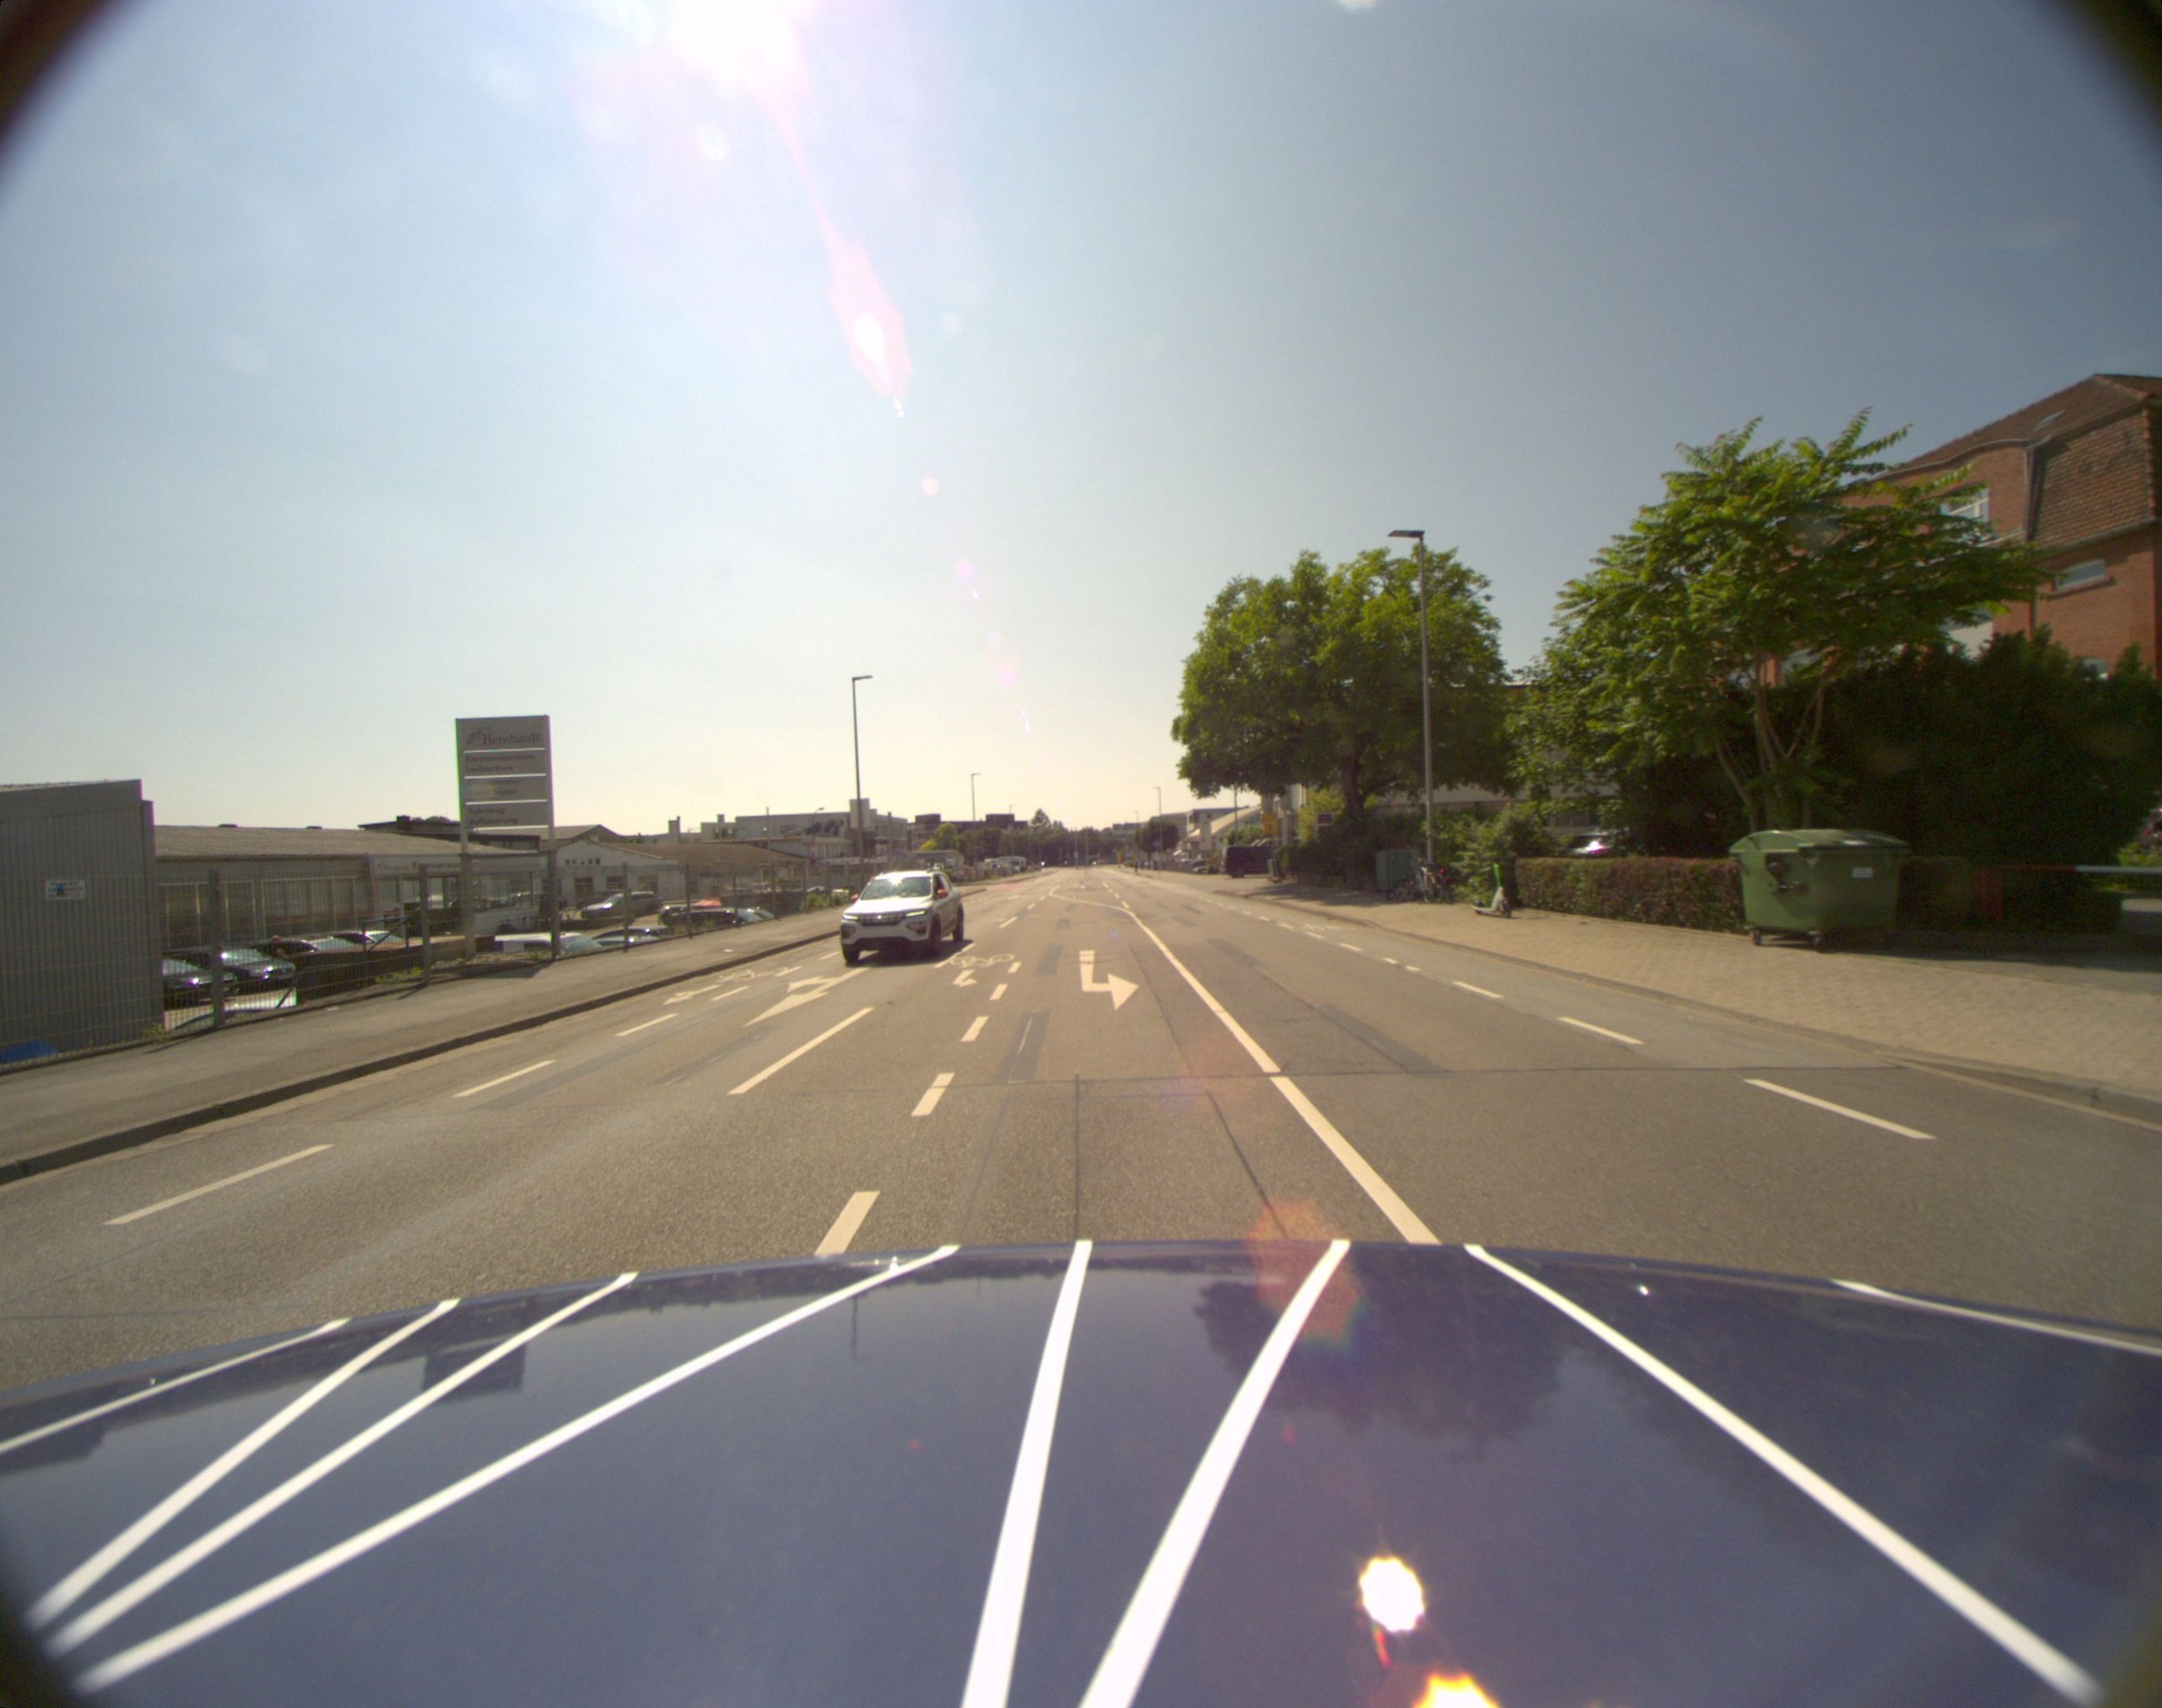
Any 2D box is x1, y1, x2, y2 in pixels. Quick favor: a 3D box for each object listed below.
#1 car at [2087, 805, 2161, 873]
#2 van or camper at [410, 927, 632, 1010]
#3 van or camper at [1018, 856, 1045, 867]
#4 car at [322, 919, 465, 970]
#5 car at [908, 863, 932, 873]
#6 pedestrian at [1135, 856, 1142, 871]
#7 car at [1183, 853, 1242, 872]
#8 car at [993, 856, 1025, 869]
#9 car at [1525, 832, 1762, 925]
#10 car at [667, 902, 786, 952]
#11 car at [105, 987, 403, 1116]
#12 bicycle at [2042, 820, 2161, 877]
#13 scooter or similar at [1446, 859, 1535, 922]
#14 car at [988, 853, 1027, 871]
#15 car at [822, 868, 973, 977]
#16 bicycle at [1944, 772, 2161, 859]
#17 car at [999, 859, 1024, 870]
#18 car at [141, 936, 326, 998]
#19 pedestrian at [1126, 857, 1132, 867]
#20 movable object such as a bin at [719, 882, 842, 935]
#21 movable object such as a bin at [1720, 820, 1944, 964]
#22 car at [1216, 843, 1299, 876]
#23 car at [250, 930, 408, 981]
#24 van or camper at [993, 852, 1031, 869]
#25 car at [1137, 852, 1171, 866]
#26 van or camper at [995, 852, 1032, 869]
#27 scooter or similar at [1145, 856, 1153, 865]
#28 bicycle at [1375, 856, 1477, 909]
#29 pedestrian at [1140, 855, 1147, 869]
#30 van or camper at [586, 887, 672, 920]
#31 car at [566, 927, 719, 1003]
[{"bbox_3d":[28.282,-0.429,18.259,4.467,1.624,2.160,-1,1,33],"label":"car"},{"bbox_3d":[-14.890,3.018,20.434,4.325,1.641,2.020,-3,0,-4],"label":"van or camper"},{"bbox_3d":[-10.309,1.556,159.016,5.144,1.950,1.982,-1,1,-30],"label":"van or camper"},{"bbox_3d":[-28.680,3.756,31.824,3.998,1.653,1.999,-2,2,-2],"label":"car"},{"bbox_3d":[-30.081,2.569,142.149,4.117,1.723,1.999,-2,0,-3],"label":"car"},{"bbox_3d":[7.317,1.233,97.039,0.734,1.856,1.047,-2,0,7],"label":"pedestrian"},{"bbox_3d":[11.509,0.707,66.573,4.751,1.472,2.048,-2,0,-1],"label":"car"},{"bbox_3d":[-12.197,1.426,129.381,5.247,1.940,2.000,-1,0,0],"label":"car"},{"bbox_3d":[12.195,0.496,16.700,3.773,1.830,1.787,2,1,4],"label":"car"},{"bbox_3d":[-14.867,3.045,32.026,3.997,1.641,2.000,-3,0,-1],"label":"car"},{"bbox_3d":[-16.227,3.852,15.031,3.994,1.819,2.001,-5,0,9],"label":"car"},{"bbox_3d":[24.962,-0.138,17.652,0.883,1.279,3.441,-2,0,0],"label":"bicycle"},{"bbox_3d":[8.017,0.688,14.958,0.649,1.121,1.622,-5,0,-6],"label":"scooter or similar"},{"bbox_3d":[-12.753,1.408,132.074,6.243,2.852,2.320,-2,0,1],"label":"car"},{"bbox_3d":[-3.198,1.136,13.978,1.726,1.476,3.676,-4,1,1],"label":"car"},{"bbox_3d":[22.763,-0.815,17.749,0.890,1.813,3.761,-2,0,0],"label":"bicycle"},{"bbox_3d":[-11.584,1.703,126.524,3.931,1.584,1.798,-2,0,0],"label":"car"},{"bbox_3d":[-29.511,3.901,26.572,3.998,1.653,1.999,-2,2,-2],"label":"car"},{"bbox_3d":[8.701,1.495,138.296,0.996,1.676,0.800,-2,0,11],"label":"pedestrian"},{"bbox_3d":[-14.865,2.663,37.748,5.128,2.002,2.000,-5,0,0],"label":"movable object such as a bin"},{"bbox_3d":[9.097,0.426,9.281,1.452,1.581,1.306,-2,0,-8],"label":"movable object such as a bin"},{"bbox_3d":[10.716,0.324,46.375,4.577,1.854,2.093,-1,0,1],"label":"car"},{"bbox_3d":[-28.658,3.860,29.068,3.998,1.507,1.846,-2,2,-2],"label":"car"},{"bbox_3d":[-12.227,1.160,135.056,6.365,2.684,2.712,-2,0,0],"label":"van or camper"},{"bbox_3d":[10.361,0.744,107.279,4.587,1.686,1.855,-3,0,-35],"label":"car"},{"bbox_3d":[-12.160,1.177,137.928,6.365,2.700,2.712,-2,0,0],"label":"van or camper"},{"bbox_3d":[9.494,0.942,106.303,0.746,1.240,1.490,-3,0,-7],"label":"scooter or similar"},{"bbox_3d":[8.308,0.643,18.478,1.029,1.111,2.765,-6,0,-2],"label":"bicycle"},{"bbox_3d":[8.395,1.067,102.717,0.725,1.837,0.911,-2,0,-6],"label":"pedestrian"},{"bbox_3d":[-28.612,3.100,48.185,1.994,1.535,4.235,3,4,27],"label":"van or camper"},{"bbox_3d":[-15.165,3.818,26.450,3.997,2.002,2.000,-5,0,-1],"label":"car"}]
